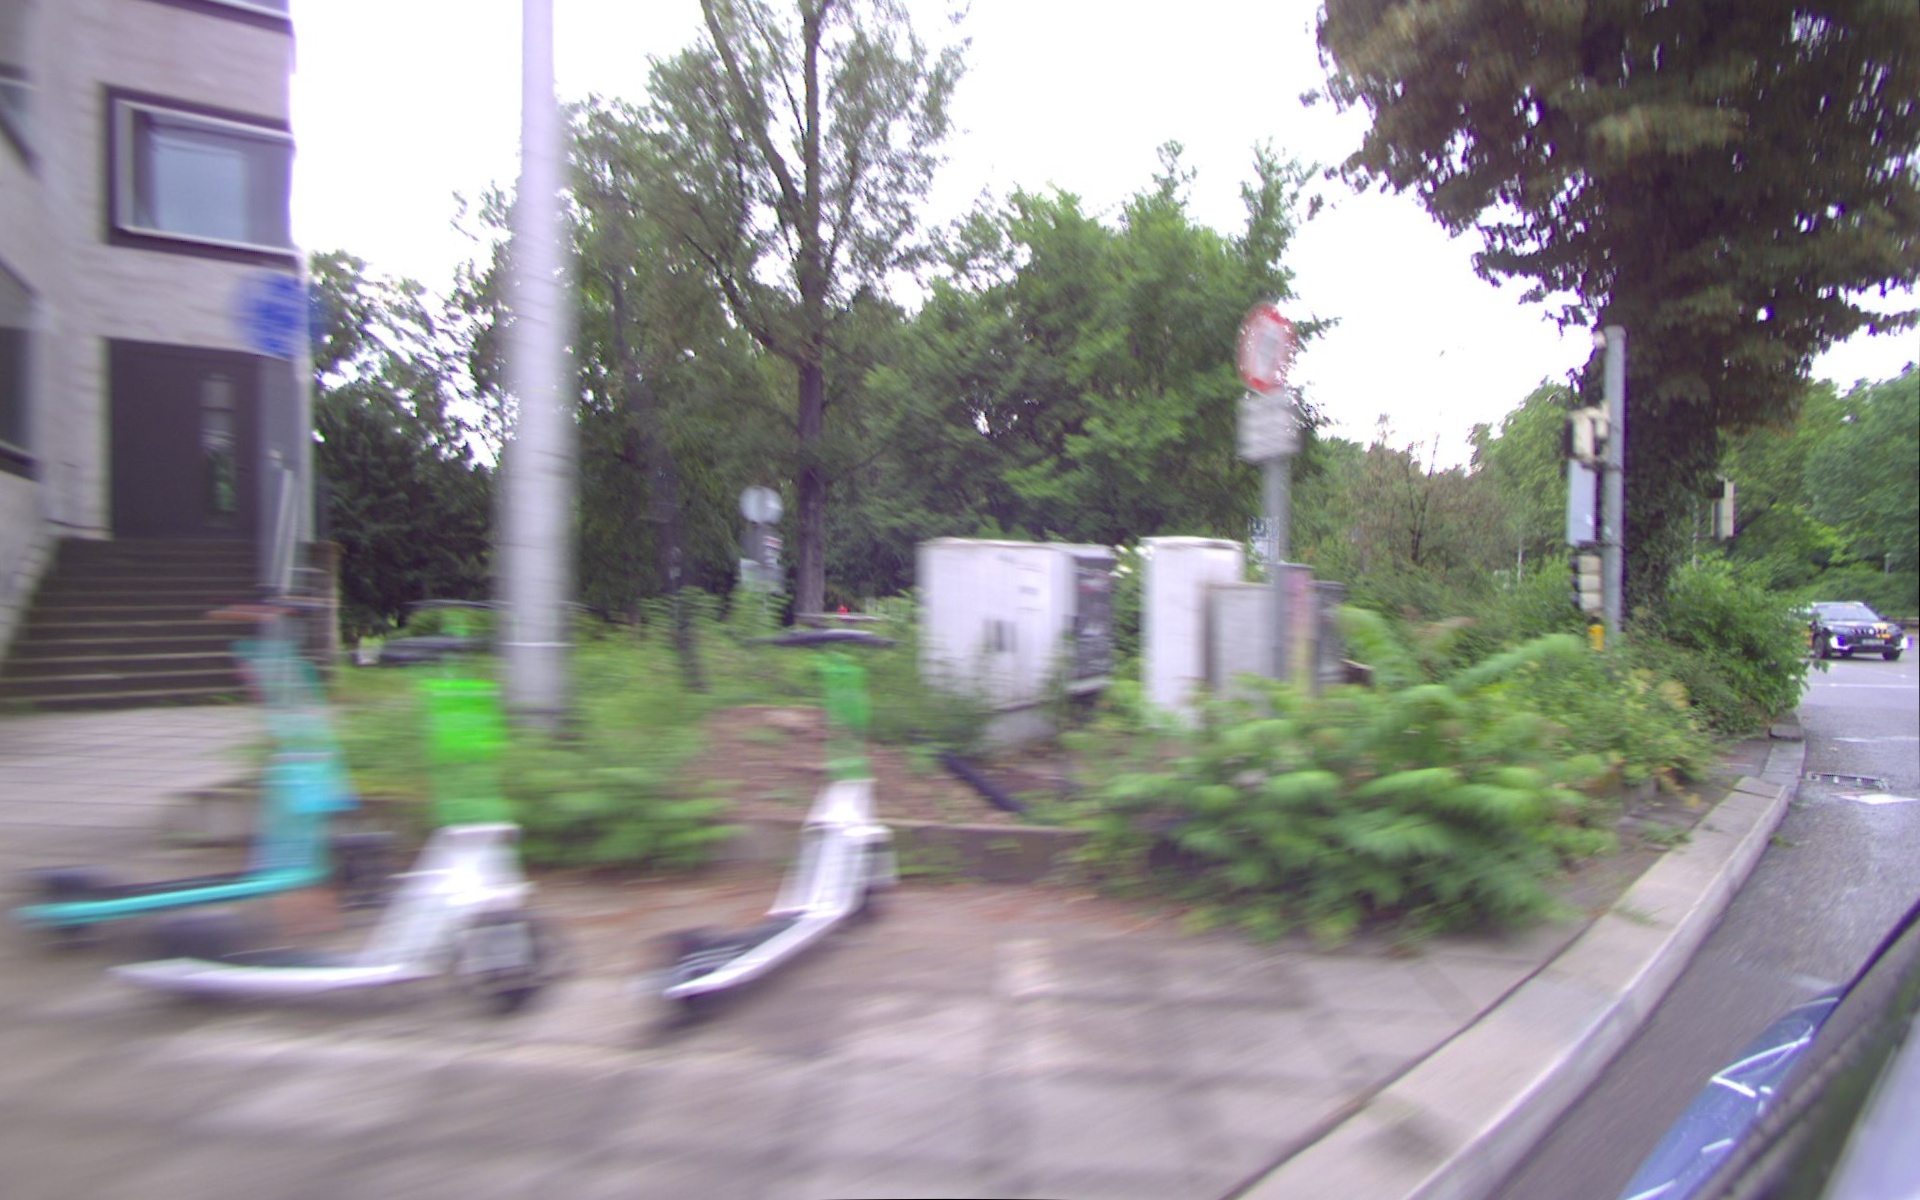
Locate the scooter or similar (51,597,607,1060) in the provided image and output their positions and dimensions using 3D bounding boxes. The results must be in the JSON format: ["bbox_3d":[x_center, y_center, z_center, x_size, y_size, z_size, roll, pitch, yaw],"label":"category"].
[{"bbox_3d":[-1.869,0.611,3.121,1.315,1.216,0.688,0,1,6],"label":"scooter or similar"}]

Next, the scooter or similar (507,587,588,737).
[{"bbox_3d":[-4.001,0.551,9.783,0.463,1.329,1.241,0,1,-35],"label":"scooter or similar"}]

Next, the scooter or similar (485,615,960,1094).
[{"bbox_3d":[-0.681,0.658,3.398,0.632,1.142,1.575,1,2,32],"label":"scooter or similar"}]

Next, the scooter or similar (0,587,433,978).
[{"bbox_3d":[-2.652,0.567,3.661,1.298,1.216,0.565,0,1,-26],"label":"scooter or similar"}]

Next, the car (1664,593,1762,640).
[{"bbox_3d":[31.893,0.628,43.009,1.974,1.766,4.627,1,2,19],"label":"car"}]

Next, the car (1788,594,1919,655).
[{"bbox_3d":[25.404,0.646,28.855,1.912,1.560,3.964,0,1,26],"label":"car"}]

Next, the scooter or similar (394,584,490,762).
[{"bbox_3d":[-4.254,0.540,8.277,0.544,1.329,1.241,0,1,-35],"label":"scooter or similar"}]

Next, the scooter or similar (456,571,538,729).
[{"bbox_3d":[-4.194,0.402,9.132,0.463,1.329,1.241,0,1,-35],"label":"scooter or similar"}]

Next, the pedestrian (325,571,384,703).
[{"bbox_3d":[-6.561,0.379,10.971,0.528,1.390,0.480,0,1,-33],"label":"pedestrian"}]
